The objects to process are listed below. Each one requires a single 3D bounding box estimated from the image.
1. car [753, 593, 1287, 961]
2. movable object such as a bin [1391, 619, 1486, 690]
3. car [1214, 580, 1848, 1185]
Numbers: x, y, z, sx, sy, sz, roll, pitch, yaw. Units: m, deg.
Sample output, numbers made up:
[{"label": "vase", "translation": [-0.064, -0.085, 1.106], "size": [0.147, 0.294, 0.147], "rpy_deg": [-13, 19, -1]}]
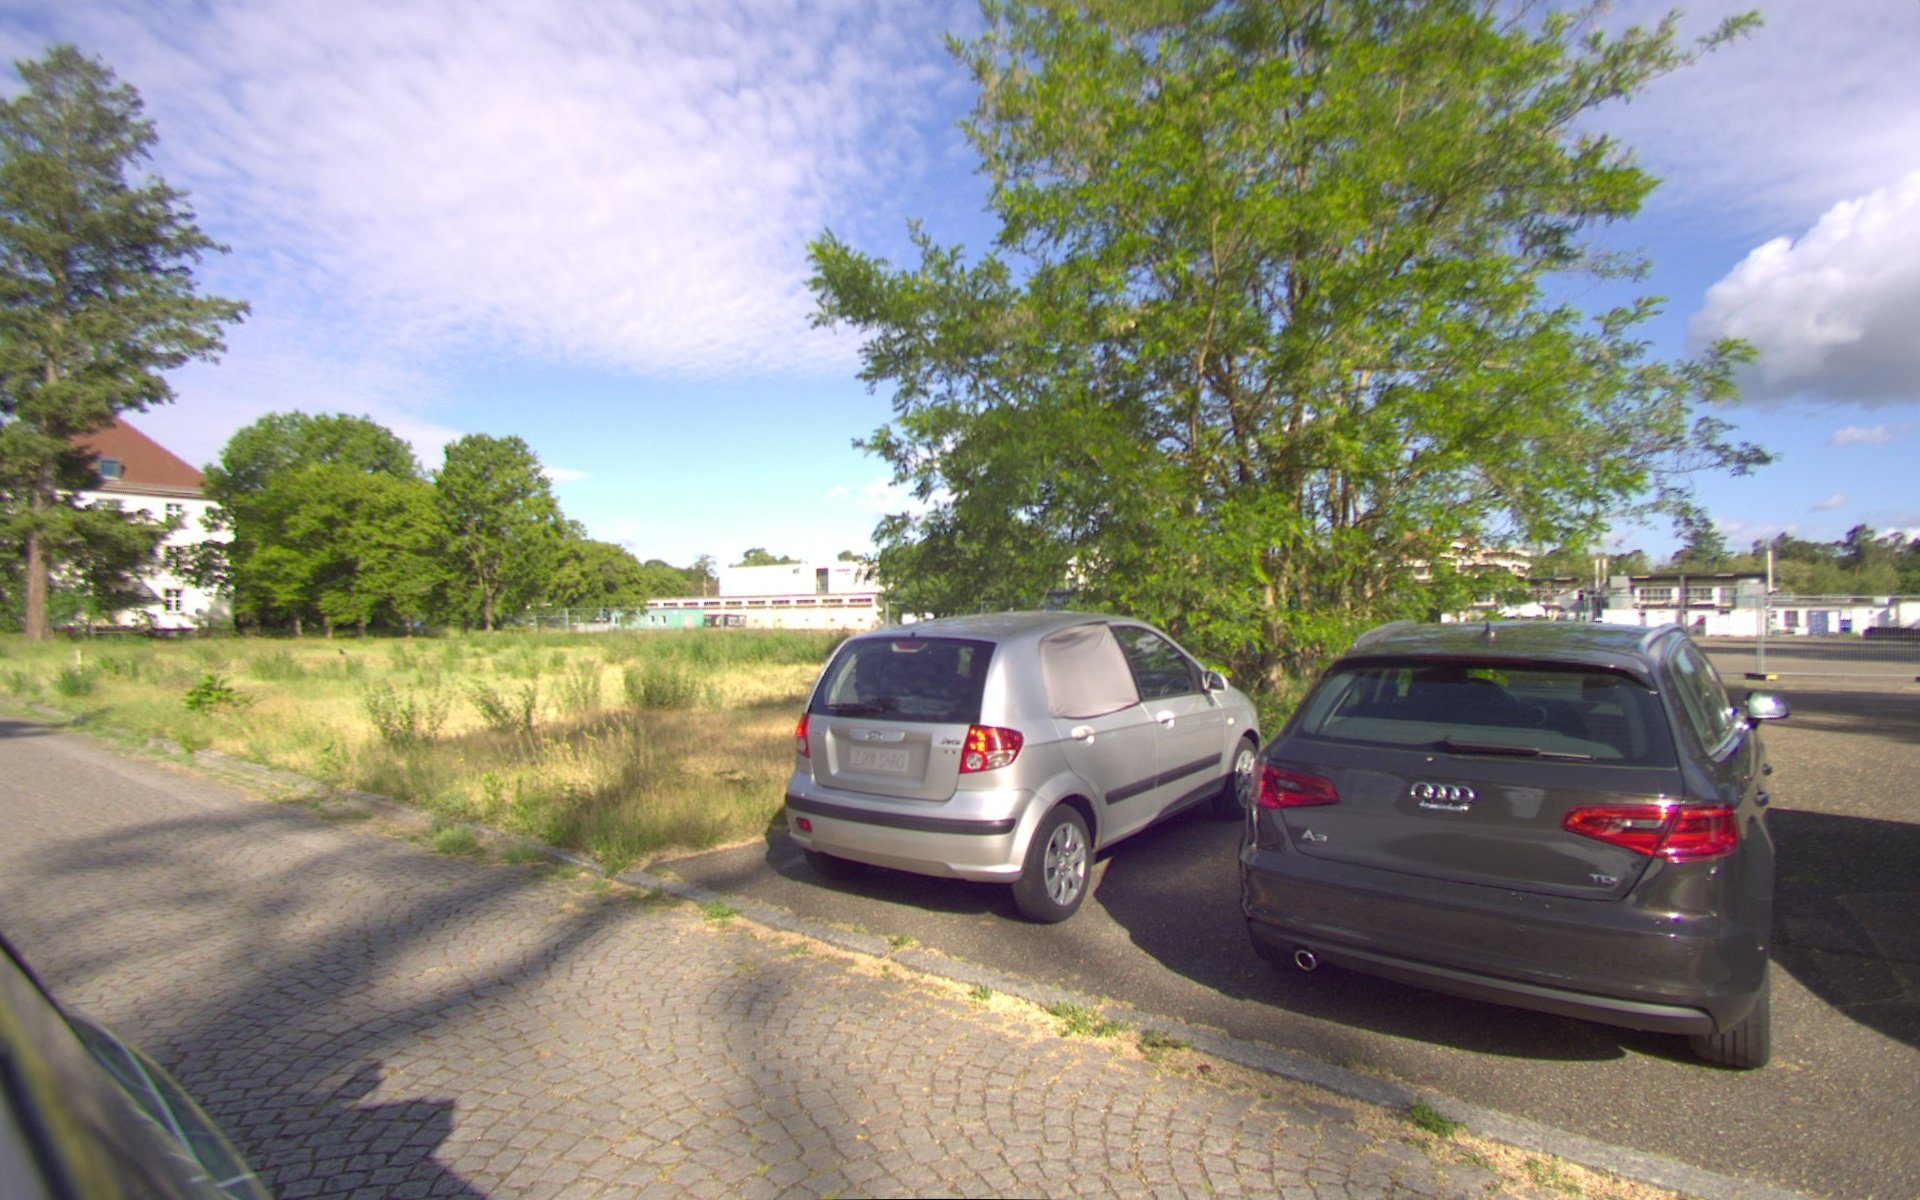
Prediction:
[{"label": "car", "translation": [0.605, 0.763, 6.206], "size": [1.633, 1.482, 3.434], "rpy_deg": [-1, 1, 37]}, {"label": "movable object such as a bin", "translation": [8.110, 0.883, 17.093], "size": [0.996, 1.116, 2.257], "rpy_deg": [-1, -2, 37]}, {"label": "car", "translation": [2.739, 0.705, 4.594], "size": [1.685, 1.482, 3.761], "rpy_deg": [-1, 1, 38]}]
